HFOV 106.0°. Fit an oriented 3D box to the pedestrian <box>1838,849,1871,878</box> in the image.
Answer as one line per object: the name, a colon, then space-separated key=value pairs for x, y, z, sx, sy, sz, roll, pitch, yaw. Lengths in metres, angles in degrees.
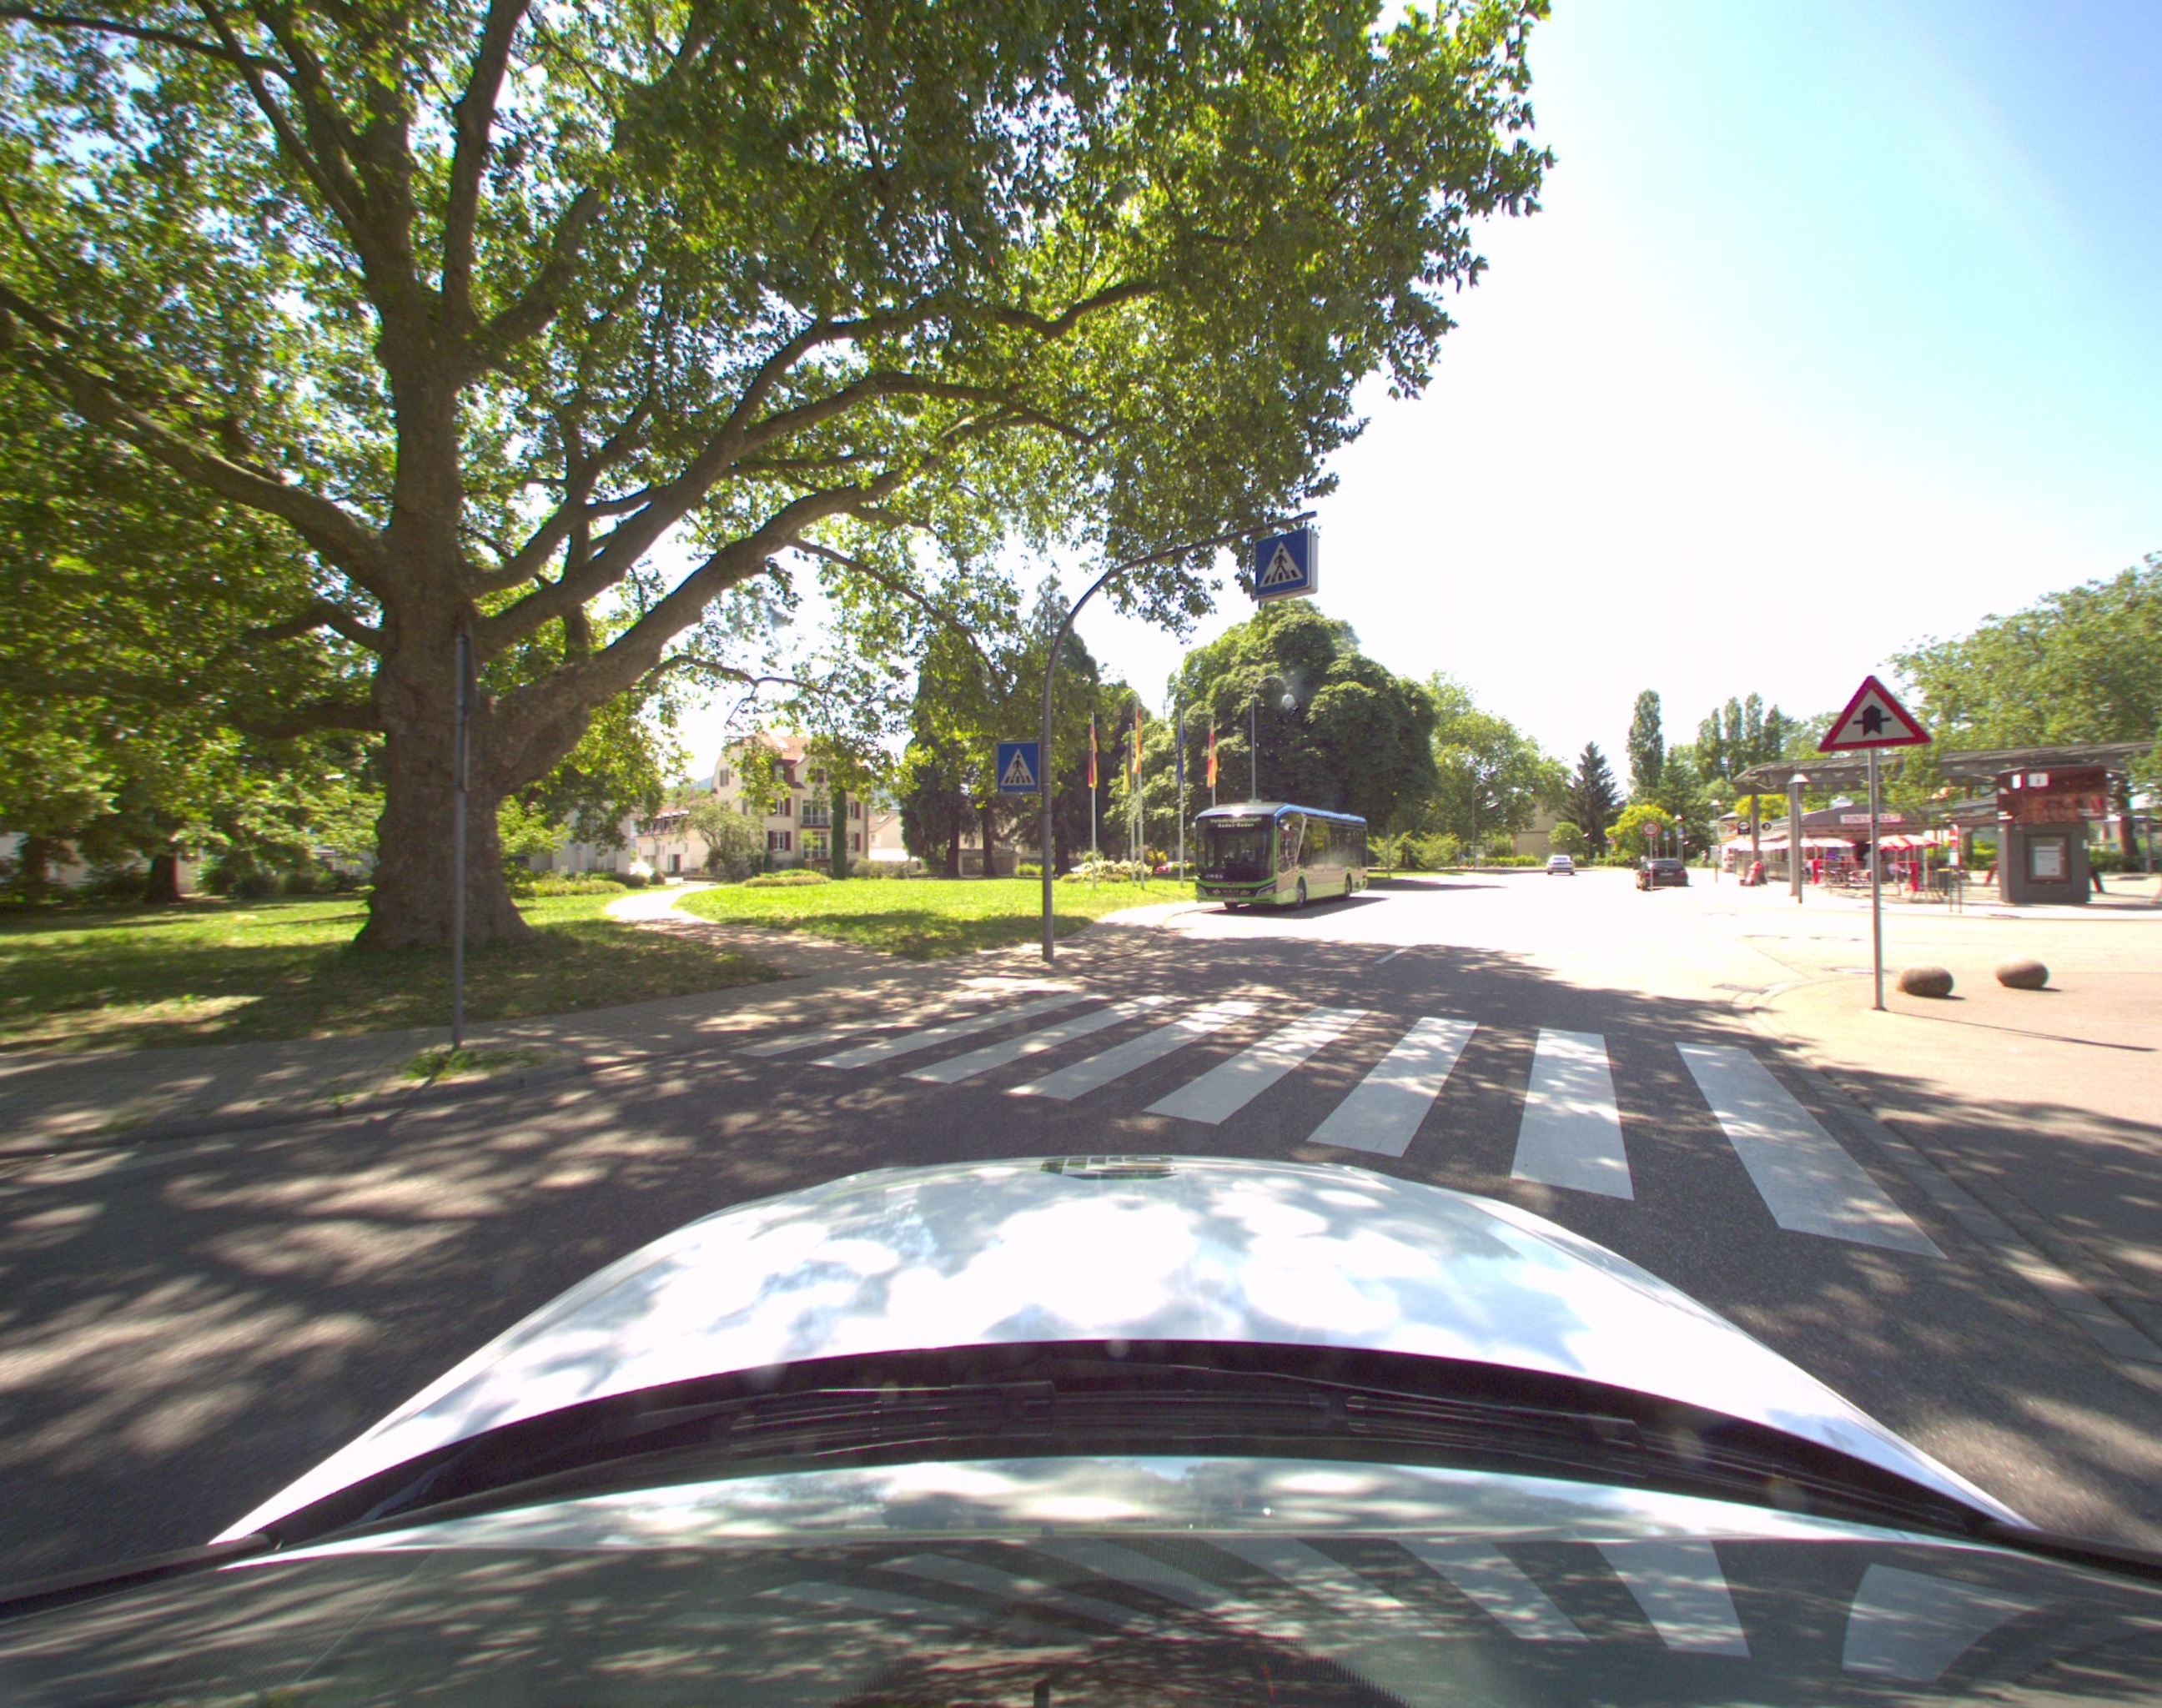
pedestrian: x=35.762 y=0.453 z=37.660 sx=0.890 sy=1.312 sz=0.688 roll=-1 pitch=-1 yaw=-3

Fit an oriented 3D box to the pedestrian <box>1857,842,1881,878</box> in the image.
pedestrian: x=38.582 y=0.293 z=39.885 sx=0.679 sy=1.738 sz=0.711 roll=-1 pitch=-1 yaw=32

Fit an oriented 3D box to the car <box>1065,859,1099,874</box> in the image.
car: x=0.140 y=1.496 z=97.745 sx=1.853 sy=1.751 sz=4.024 roll=2 pitch=0 yaw=42

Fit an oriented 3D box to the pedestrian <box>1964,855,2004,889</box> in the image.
pedestrian: x=34.621 y=0.666 z=31.239 sx=0.837 sy=1.277 sz=0.900 roll=-1 pitch=-1 yaw=36

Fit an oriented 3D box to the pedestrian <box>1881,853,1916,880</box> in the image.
pedestrian: x=36.941 y=0.563 z=36.811 sx=0.890 sy=1.161 sz=0.688 roll=-1 pitch=-1 yaw=-3

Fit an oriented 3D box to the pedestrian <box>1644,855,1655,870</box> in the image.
pedestrian: x=61.033 y=0.899 z=87.432 sx=0.753 sy=1.649 sz=0.715 roll=2 pitch=-2 yaw=-30

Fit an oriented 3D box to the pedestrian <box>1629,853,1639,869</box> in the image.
pedestrian: x=58.956 y=0.726 z=86.798 sx=0.753 sy=1.649 sz=0.631 roll=2 pitch=-2 yaw=-30

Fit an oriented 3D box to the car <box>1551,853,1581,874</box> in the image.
car: x=40.784 y=0.768 z=68.423 sx=1.963 sy=1.627 sz=4.809 roll=-1 pitch=0 yaw=33

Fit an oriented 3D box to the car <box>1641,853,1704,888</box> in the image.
car: x=27.633 y=0.748 z=38.196 sx=1.908 sy=1.460 sz=4.754 roll=-4 pitch=-2 yaw=31

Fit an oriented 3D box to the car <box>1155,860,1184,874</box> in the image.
car: x=11.905 y=1.751 z=109.338 sx=1.853 sy=1.838 sz=4.024 roll=1 pitch=0 yaw=42

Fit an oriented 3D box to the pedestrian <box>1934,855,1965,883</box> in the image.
pedestrian: x=38.107 y=0.657 z=35.747 sx=0.751 sy=1.205 sz=0.742 roll=1 pitch=0 yaw=32

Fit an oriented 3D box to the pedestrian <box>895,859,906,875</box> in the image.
pedestrian: x=-15.110 y=1.088 z=68.217 sx=0.824 sy=1.371 sz=0.616 roll=2 pitch=0 yaw=-9

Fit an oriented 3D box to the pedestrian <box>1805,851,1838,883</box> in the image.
pedestrian: x=33.700 y=0.573 z=37.052 sx=0.891 sy=1.418 sz=0.687 roll=-1 pitch=-1 yaw=-6

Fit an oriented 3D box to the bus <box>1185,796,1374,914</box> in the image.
bus: x=7.581 y=0.014 z=28.866 sx=2.782 sy=3.283 sz=12.503 roll=-1 pitch=0 yaw=31

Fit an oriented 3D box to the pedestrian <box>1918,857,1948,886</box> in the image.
pedestrian: x=34.854 y=0.721 z=33.340 sx=0.679 sy=1.161 sz=0.900 roll=-1 pitch=-1 yaw=36

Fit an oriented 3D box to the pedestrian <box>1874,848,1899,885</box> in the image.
pedestrian: x=37.988 y=0.581 z=38.398 sx=0.679 sy=1.738 sz=0.711 roll=0 pitch=-2 yaw=32
